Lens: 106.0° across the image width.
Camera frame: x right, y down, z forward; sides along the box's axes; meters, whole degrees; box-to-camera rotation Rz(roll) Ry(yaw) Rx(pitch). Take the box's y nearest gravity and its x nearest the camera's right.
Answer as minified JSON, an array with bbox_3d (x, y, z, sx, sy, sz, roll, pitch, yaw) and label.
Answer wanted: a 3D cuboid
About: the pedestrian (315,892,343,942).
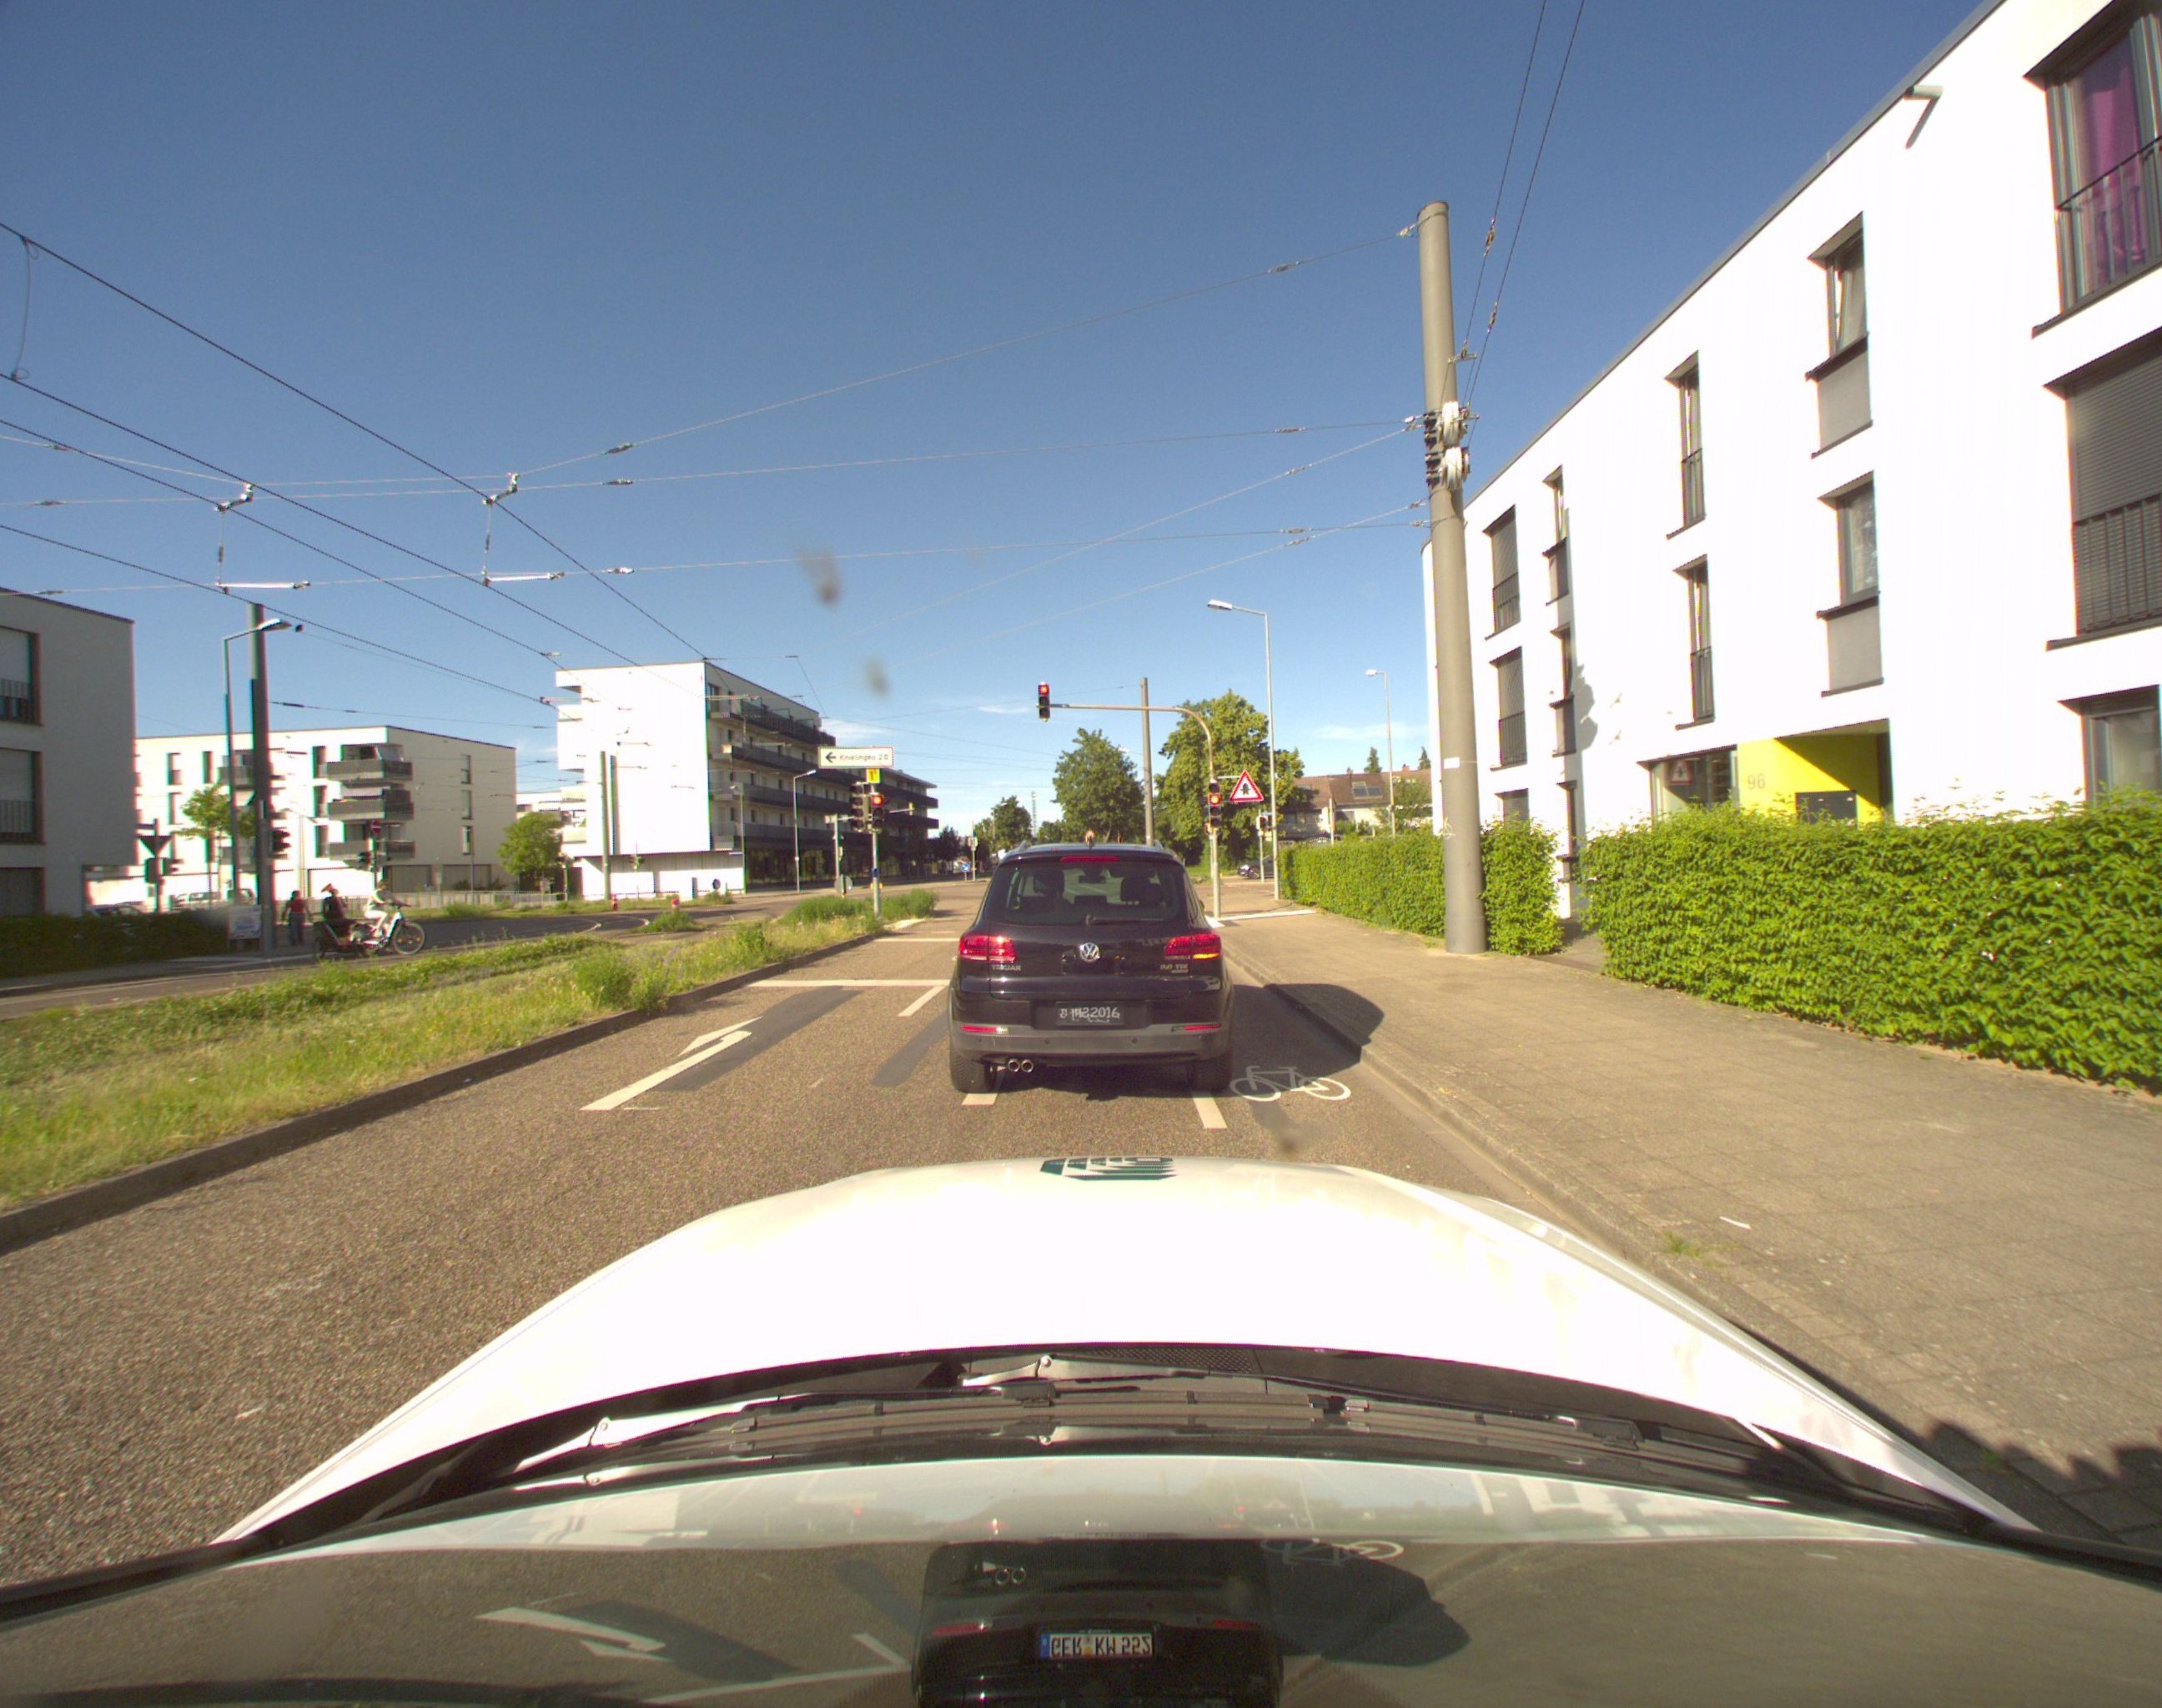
[{"bbox_3d":[-23.085,1.922,25.001,0.561,1.464,0.605,-1,0,-36],"label":"pedestrian"}]

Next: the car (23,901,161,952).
[{"bbox_3d":[-39.441,2.875,32.533,3.478,1.652,1.593,-4,0,1],"label":"car"}]

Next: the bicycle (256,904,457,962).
[{"bbox_3d":[-16.501,1.784,18.620,3.670,1.174,0.999,1,0,0],"label":"bicycle"}]

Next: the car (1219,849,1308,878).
[{"bbox_3d":[9.753,0.503,43.772,4.474,1.504,2.003,-1,0,6],"label":"car"}]

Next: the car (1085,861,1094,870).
[{"bbox_3d":[1.759,2.317,166.111,1.648,1.640,4.004,-1,0,4],"label":"car"}]

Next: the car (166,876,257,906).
[{"bbox_3d":[-58.717,2.481,55.048,3.974,1.838,2.000,-1,0,0],"label":"car"}]

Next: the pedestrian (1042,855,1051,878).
[{"bbox_3d":[-2.553,0.903,60.039,0.600,1.640,0.530,-1,0,6],"label":"pedestrian"}]

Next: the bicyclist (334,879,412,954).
[{"bbox_3d":[-16.164,1.413,18.628,0.907,1.630,0.976,-1,0,0],"label":"bicyclist"}]

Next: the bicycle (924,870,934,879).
[{"bbox_3d":[-15.347,2.061,82.295,0.493,0.848,2.082,-1,0,6],"label":"bicycle"}]

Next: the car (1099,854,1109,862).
[{"bbox_3d":[4.387,0.743,153.349,1.745,1.387,4.000,-1,0,0],"label":"car"}]

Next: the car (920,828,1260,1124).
[{"bbox_3d":[0.074,0.689,6.605,1.899,1.643,4.000,-1,0,0],"label":"car"}]

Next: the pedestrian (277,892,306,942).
[{"bbox_3d":[-23.841,1.892,24.603,0.562,1.464,0.734,-1,0,-40],"label":"pedestrian"}]

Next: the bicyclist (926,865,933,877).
[{"bbox_3d":[-15.340,1.732,82.277,0.472,1.223,0.713,-1,0,5],"label":"bicyclist"}]

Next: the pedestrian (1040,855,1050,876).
[{"bbox_3d":[-2.619,0.841,59.370,0.600,1.565,0.530,-1,0,6],"label":"pedestrian"}]
